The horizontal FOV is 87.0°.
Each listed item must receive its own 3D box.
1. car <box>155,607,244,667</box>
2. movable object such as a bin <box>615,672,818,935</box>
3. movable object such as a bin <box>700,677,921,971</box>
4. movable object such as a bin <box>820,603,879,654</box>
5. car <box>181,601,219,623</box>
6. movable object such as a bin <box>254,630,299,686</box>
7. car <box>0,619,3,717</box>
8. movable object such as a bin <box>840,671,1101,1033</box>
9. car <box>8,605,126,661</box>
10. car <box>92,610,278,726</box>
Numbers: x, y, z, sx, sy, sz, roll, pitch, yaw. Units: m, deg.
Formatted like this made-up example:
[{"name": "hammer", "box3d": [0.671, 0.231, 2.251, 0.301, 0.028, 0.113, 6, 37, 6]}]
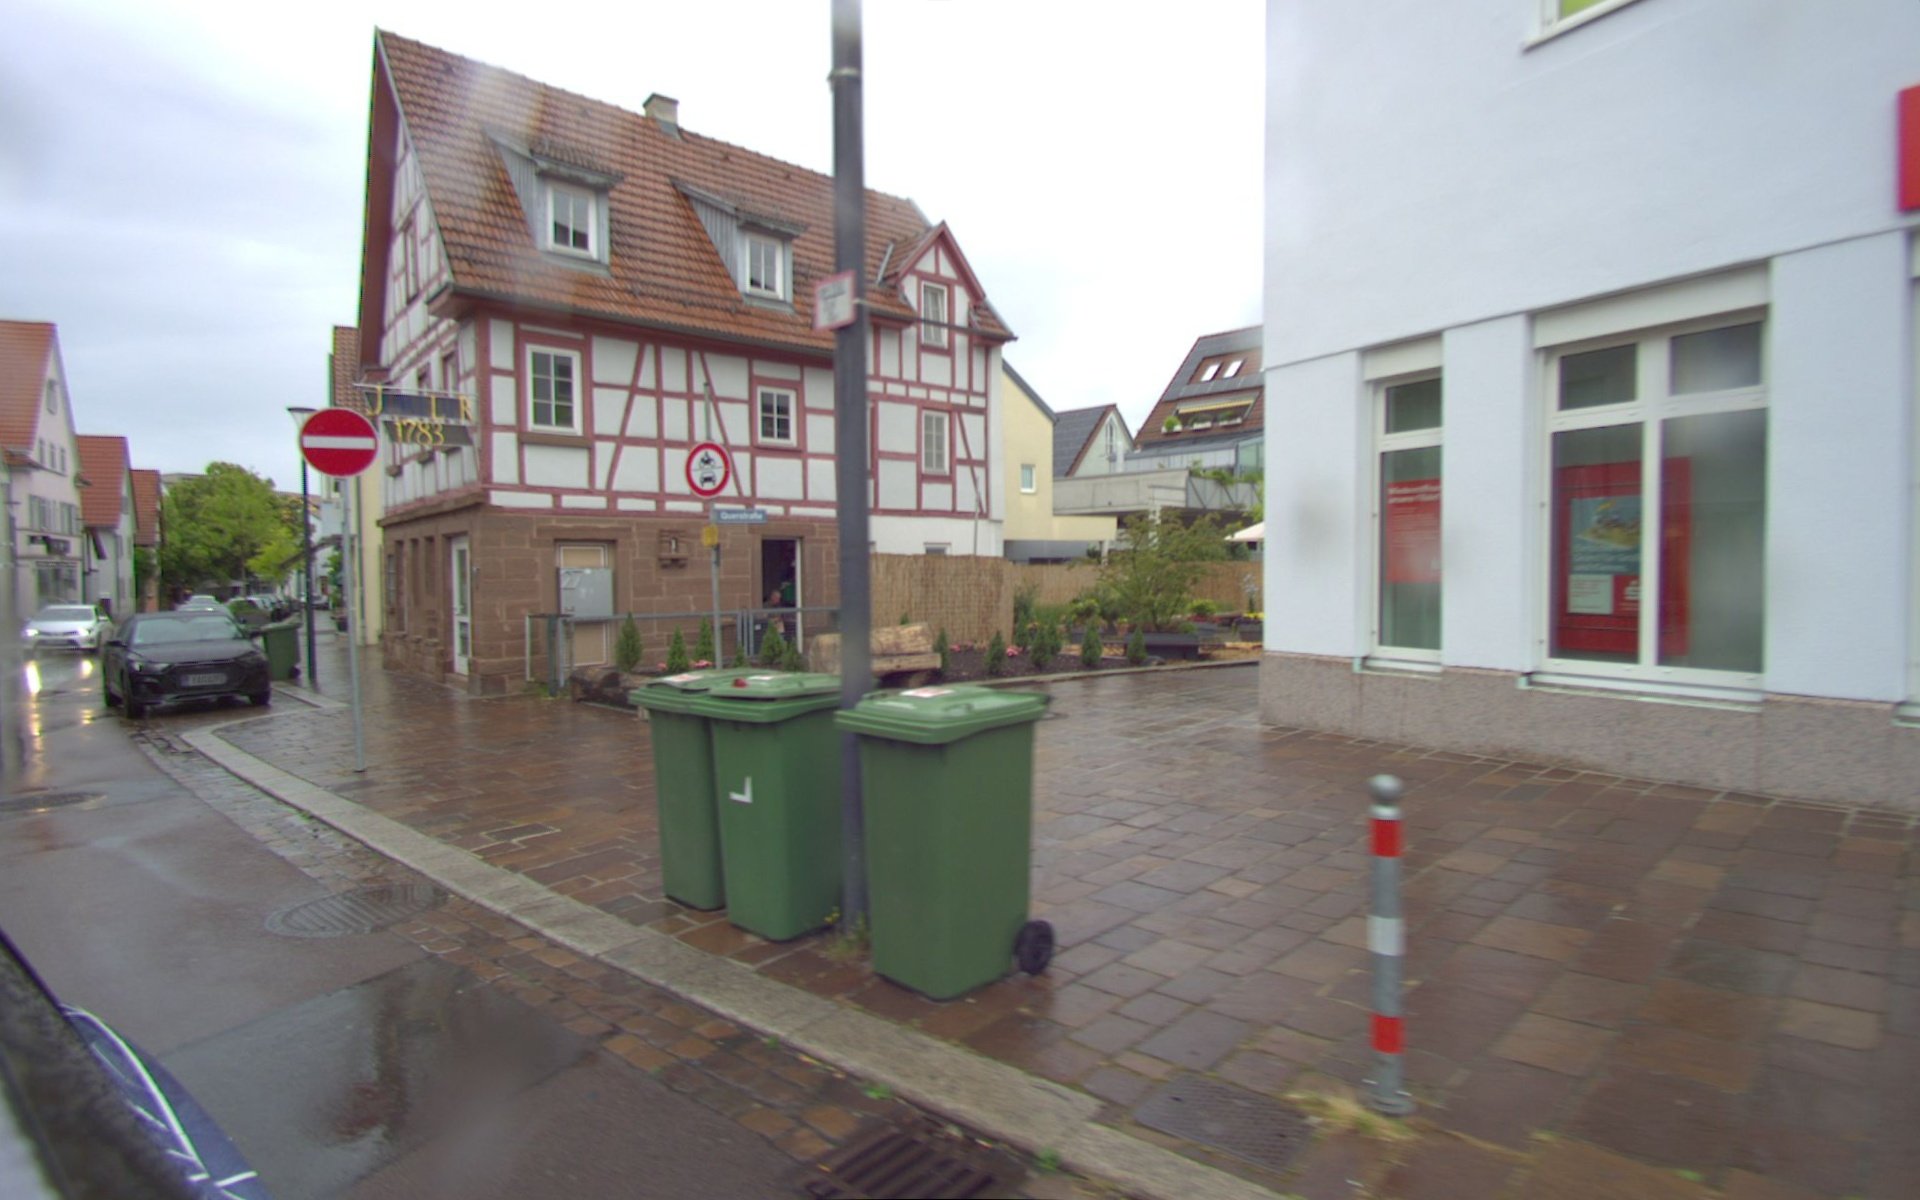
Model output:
[{"name": "car", "box3d": [-21.362, 0.985, 28.563, 1.778, 1.453, 4.010, -3, 2, -34]}, {"name": "movable object such as a bin", "box3d": [-1.151, 0.905, 4.804, 0.645, 1.055, 0.688, -1, 0, 42]}, {"name": "movable object such as a bin", "box3d": [-0.643, 0.900, 4.374, 0.645, 1.059, 0.688, -1, 0, 42]}, {"name": "movable object such as a bin", "box3d": [-1.931, 0.495, 17.747, 0.756, 0.863, 0.700, -1, 0, 42]}, {"name": "car", "box3d": [-51.864, 0.815, 69.102, 1.838, 1.471, 4.011, -1, 0, -34]}, {"name": "movable object such as a bin", "box3d": [-13.291, 1.113, 19.683, 0.530, 1.030, 0.604, -1, 0, 42]}, {"name": "car", "box3d": [-13.096, 0.973, 12.199, 1.850, 1.380, 4.454, -1, 1, -38]}, {"name": "movable object such as a bin", "box3d": [0.047, 0.858, 3.774, 0.645, 1.084, 0.688, -1, 3, 42]}, {"name": "car", "box3d": [-27.960, 0.965, 31.837, 1.837, 1.598, 4.629, -1, 0, -29]}, {"name": "car", "box3d": [-12.081, 0.935, 15.676, 1.782, 1.453, 4.003, -3, 2, -44]}]
